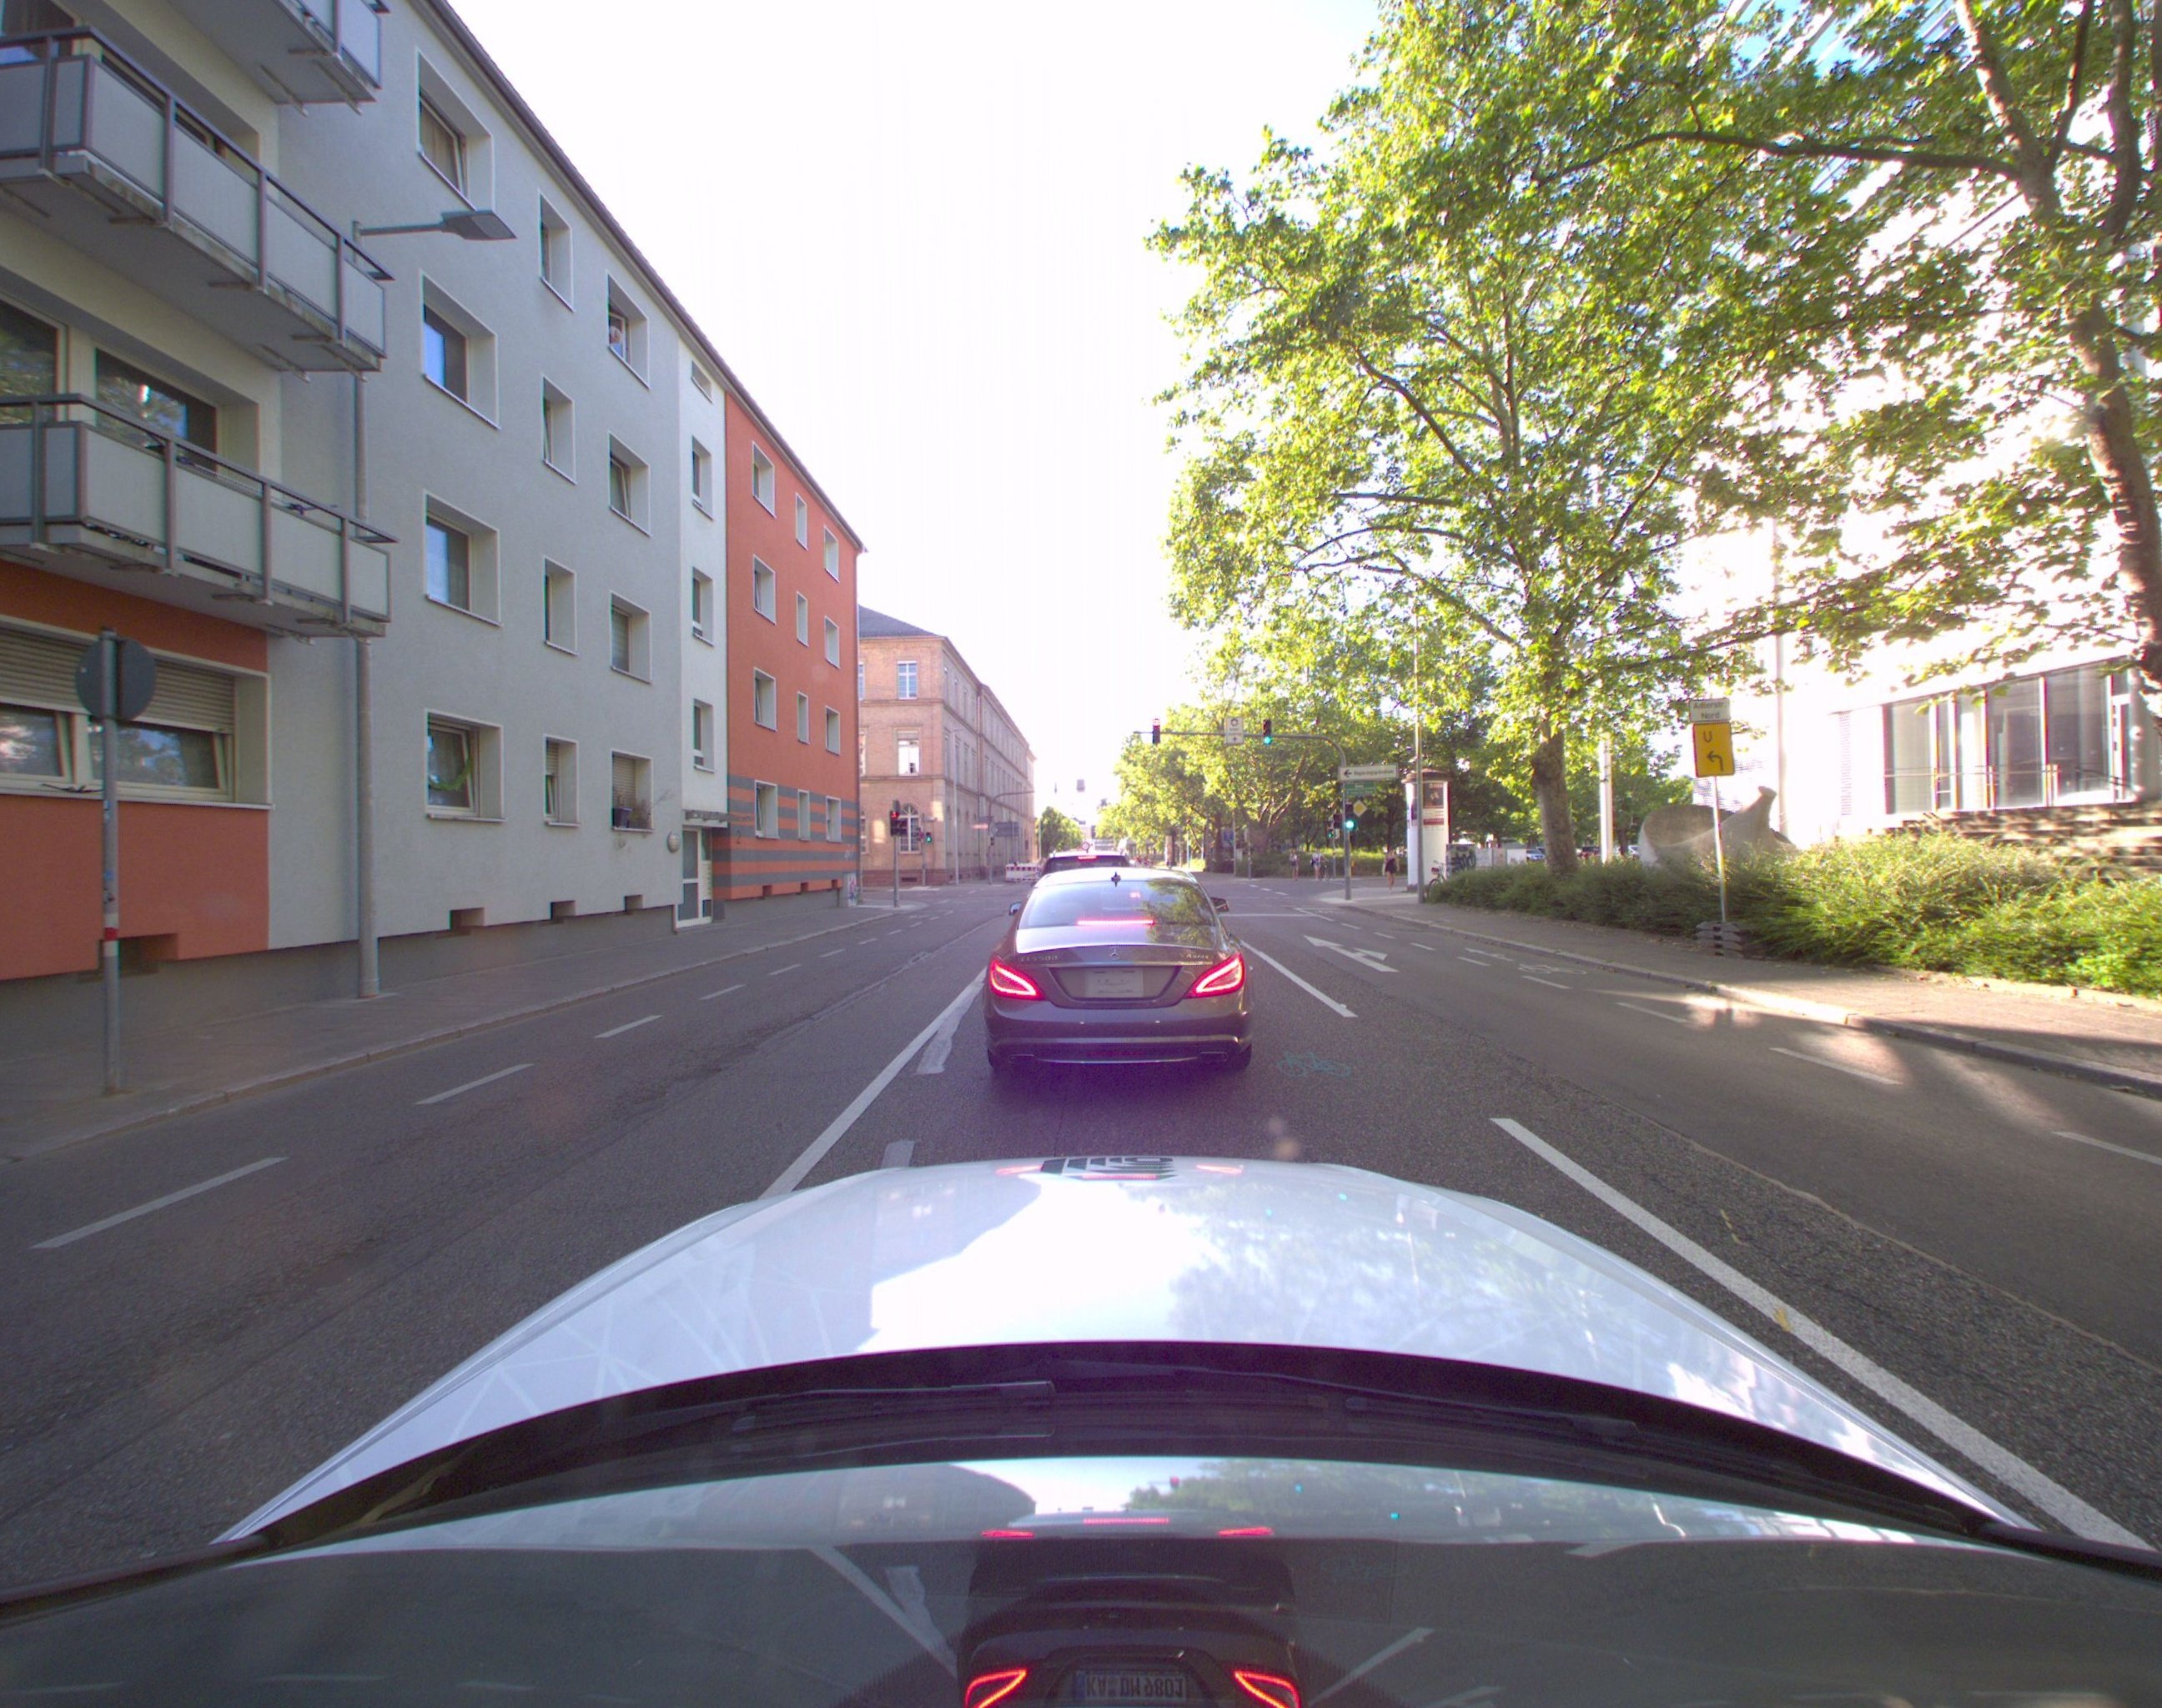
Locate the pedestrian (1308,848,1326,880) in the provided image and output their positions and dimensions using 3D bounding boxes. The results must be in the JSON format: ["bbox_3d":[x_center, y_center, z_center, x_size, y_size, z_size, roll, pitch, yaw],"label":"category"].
[{"bbox_3d":[12.755,0.539,44.052,0.680,1.697,0.971,0,-1,2],"label":"pedestrian"}]

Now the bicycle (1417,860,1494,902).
[{"bbox_3d":[10.807,0.771,23.503,1.969,1.190,0.528,0,-1,0],"label":"bicycle"}]

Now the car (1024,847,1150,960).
[{"bbox_3d":[0.207,0.741,13.862,1.801,1.612,4.003,-1,-1,3],"label":"car"}]

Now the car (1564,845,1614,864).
[{"bbox_3d":[39.747,0.056,63.825,1.624,1.483,3.796,0,-1,1],"label":"car"}]

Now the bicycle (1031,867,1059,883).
[{"bbox_3d":[-2.082,1.241,47.345,0.543,0.891,1.879,-1,-1,38],"label":"bicycle"}]

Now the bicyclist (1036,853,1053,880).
[{"bbox_3d":[-2.123,0.735,47.297,0.642,1.558,0.812,-1,-1,39],"label":"bicyclist"}]

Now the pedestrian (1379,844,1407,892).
[{"bbox_3d":[11.014,0.493,28.768,0.791,1.630,0.912,-3,-2,19],"label":"pedestrian"}]

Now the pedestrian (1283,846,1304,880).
[{"bbox_3d":[11.513,0.491,44.163,0.731,1.808,0.906,-2,-2,-8],"label":"pedestrian"}]

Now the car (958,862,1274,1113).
[{"bbox_3d":[0.396,0.794,7.004,1.834,1.429,4.523,0,0,5],"label":"car"}]

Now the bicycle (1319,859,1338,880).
[{"bbox_3d":[13.284,0.844,43.766,0.522,1.100,1.741,0,-1,1],"label":"bicycle"}]
